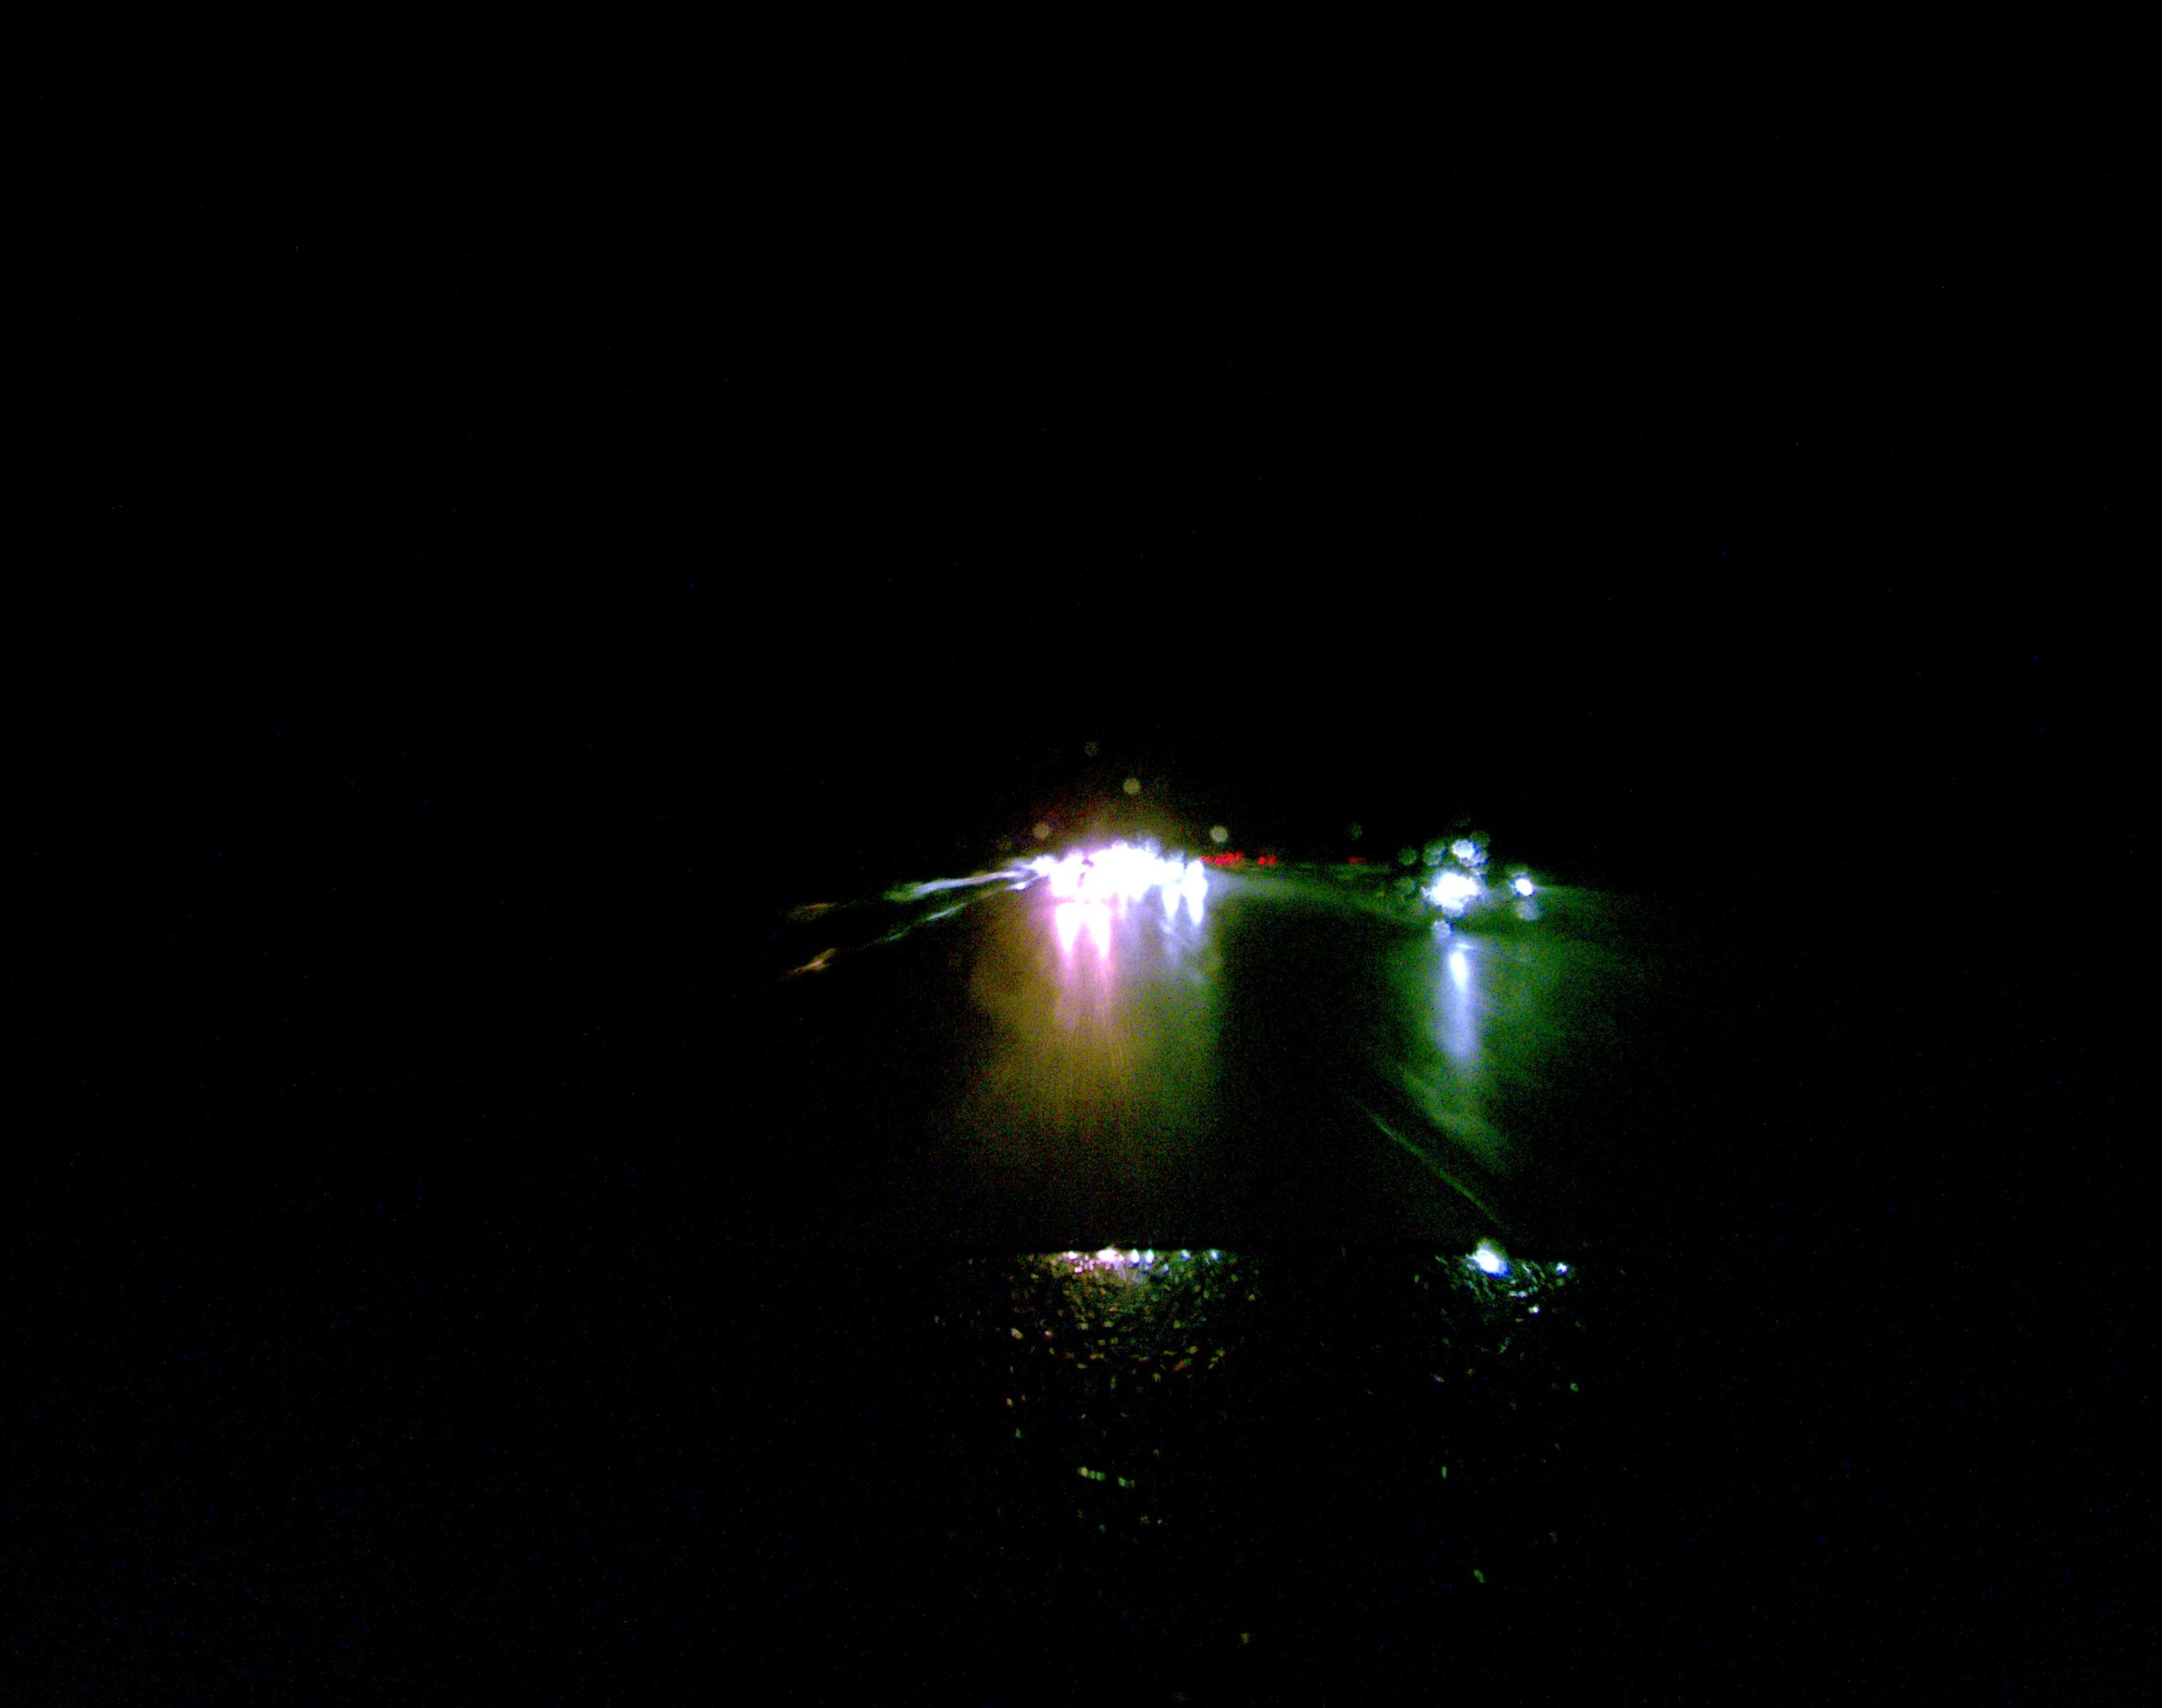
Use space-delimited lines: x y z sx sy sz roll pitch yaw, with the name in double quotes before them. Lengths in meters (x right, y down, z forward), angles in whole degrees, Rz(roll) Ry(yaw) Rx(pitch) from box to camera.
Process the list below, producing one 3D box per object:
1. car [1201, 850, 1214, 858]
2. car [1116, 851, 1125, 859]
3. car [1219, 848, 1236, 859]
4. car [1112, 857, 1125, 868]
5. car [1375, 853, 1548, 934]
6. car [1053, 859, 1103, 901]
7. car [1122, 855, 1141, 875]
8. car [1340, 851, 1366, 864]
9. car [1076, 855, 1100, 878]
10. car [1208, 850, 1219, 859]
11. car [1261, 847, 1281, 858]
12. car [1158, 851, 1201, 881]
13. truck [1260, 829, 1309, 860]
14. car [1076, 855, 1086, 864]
"car" 21.858 -0.011 131.652 1.618 1.422 3.957 -2 0 1
"car" 8.941 0.235 171.567 1.800 1.728 4.000 -2 0 1
"car" 21.699 -0.063 112.776 1.682 1.495 3.815 -2 0 1
"car" 5.553 1.262 112.698 1.755 1.563 4.000 -2 0 1
"car" 7.713 0.727 15.891 1.660 1.422 4.247 -2 0 3
"car" -0.054 0.954 29.856 1.774 1.449 4.196 -2 0 2
"car" 4.705 0.987 71.212 1.611 1.775 3.910 -2 0 1
"car" 32.335 0.358 90.520 1.646 1.438 3.932 -2 0 1
"car" 0.612 0.992 62.506 1.792 1.681 4.000 -2 0 1
"car" 29.020 0.049 166.407 1.635 1.794 3.911 -2 0 2
"car" 25.572 -0.200 102.476 1.646 1.438 3.932 -2 0 1
"car" 5.934 0.700 46.301 1.960 1.655 4.916 -2 0 1
"truck" 33.329 -1.485 125.539 3.418 4.532 17.599 -2 0 1
"car" 0.049 0.998 141.776 1.755 1.563 4.000 -2 0 1
